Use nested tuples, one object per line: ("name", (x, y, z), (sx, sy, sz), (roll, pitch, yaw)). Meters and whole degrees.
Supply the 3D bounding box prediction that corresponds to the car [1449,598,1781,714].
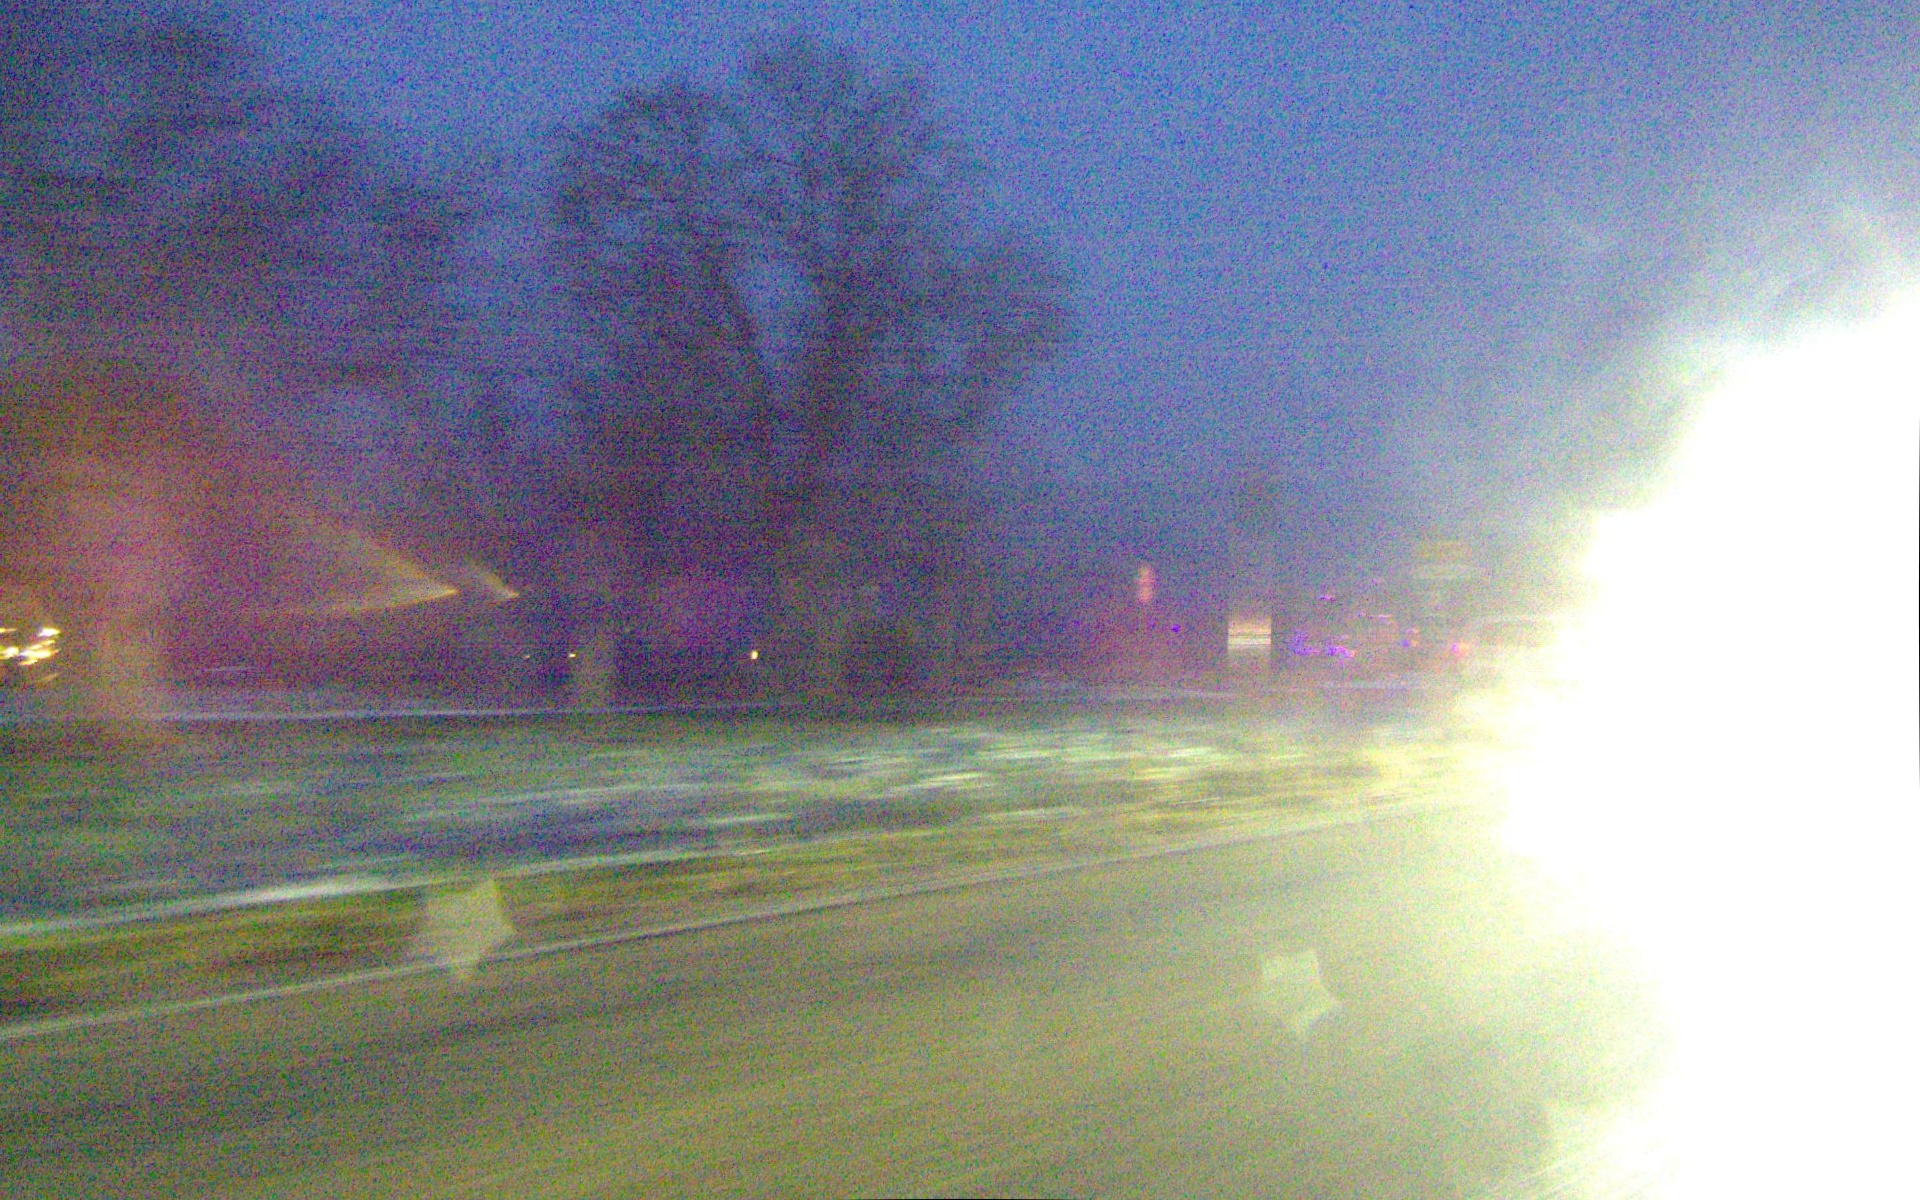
("car", (11.950, 0.965, 18.753), (1.911, 1.862, 4.912), (1, -2, -29))
